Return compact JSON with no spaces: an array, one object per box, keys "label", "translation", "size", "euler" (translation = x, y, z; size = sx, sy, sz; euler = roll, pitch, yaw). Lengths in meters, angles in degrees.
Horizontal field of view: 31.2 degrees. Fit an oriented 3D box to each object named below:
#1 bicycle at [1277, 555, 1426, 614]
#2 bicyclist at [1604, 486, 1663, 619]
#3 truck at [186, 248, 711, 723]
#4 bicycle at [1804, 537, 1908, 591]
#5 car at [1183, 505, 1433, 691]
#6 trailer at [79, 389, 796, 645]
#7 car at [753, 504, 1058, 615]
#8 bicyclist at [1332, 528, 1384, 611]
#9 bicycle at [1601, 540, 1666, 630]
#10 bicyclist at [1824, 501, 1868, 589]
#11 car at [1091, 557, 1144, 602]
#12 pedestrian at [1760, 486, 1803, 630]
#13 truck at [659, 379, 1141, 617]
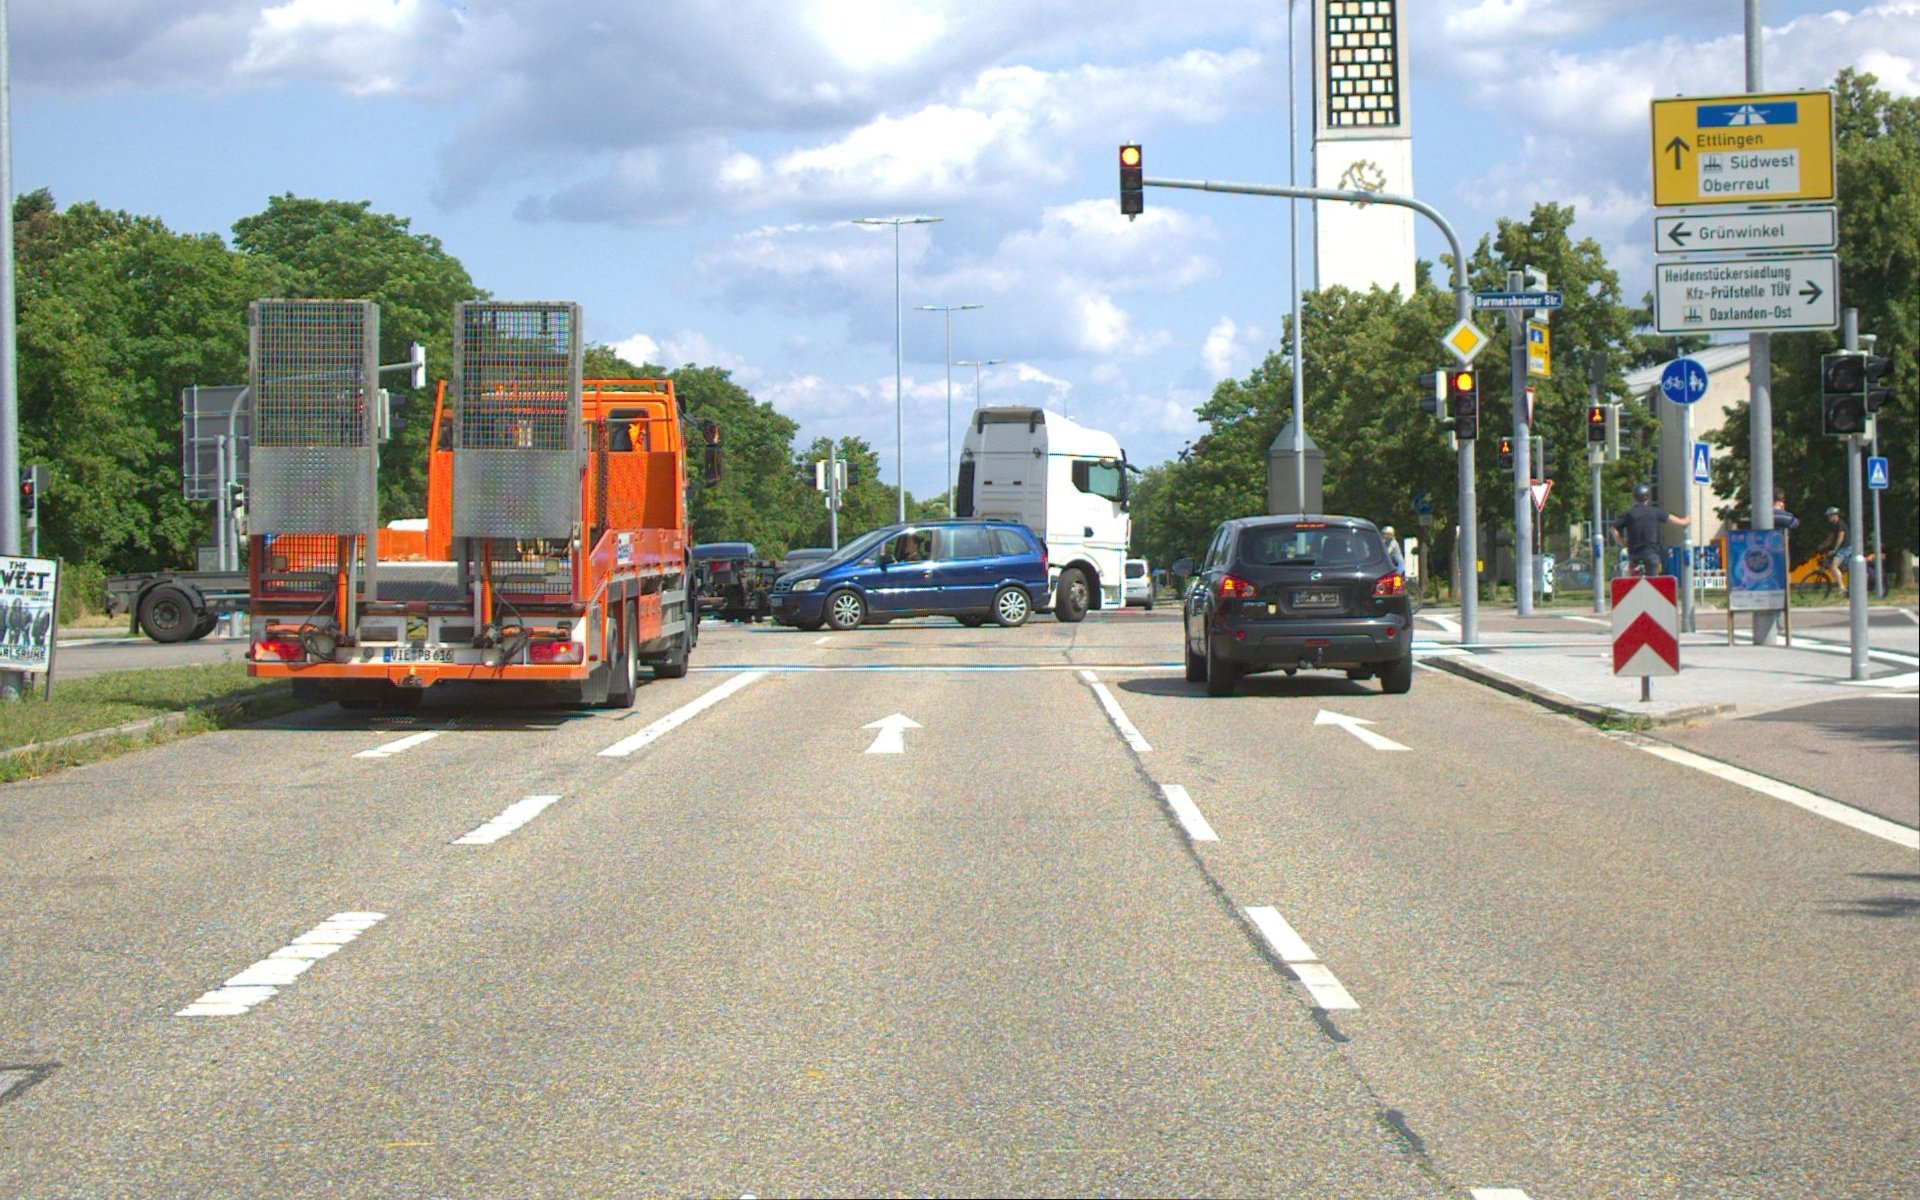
[{"label":"bicycle","translation":[7.616,-0.304,66.809],"size":[2.832,1.108,0.797],"euler":[-1,1,-22]},{"label":"bicyclist","translation":[8.476,-0.596,43.237],"size":[0.648,1.656,0.650],"euler":[1,0,15]},{"label":"truck","translation":[-4.133,-0.855,30.600],"size":[3.070,3.402,11.068],"euler":[1,0,-1]},{"label":"bicycle","translation":[18.489,-0.743,70.929],"size":[1.999,1.090,0.685],"euler":[0,0,23]},{"label":"car","translation":[3.078,-0.025,31.118],"size":[1.799,1.547,4.000],"euler":[1,0,-1]},{"label":"trailer","translation":[-8.540,-1.394,56.633],"size":[11.279,3.998,3.633],"euler":[-1,1,-10]},{"label":"car","translation":[-0.820,-0.594,52.006],"size":[4.198,1.568,1.856],"euler":[1,0,-24]},{"label":"bicyclist","translation":[7.731,-0.594,66.844],"size":[0.698,1.610,0.797],"euler":[-1,1,-22]},{"label":"bicycle","translation":[8.519,-0.186,43.426],"size":[0.648,1.104,1.927],"euler":[1,0,15]},{"label":"bicyclist","translation":[18.303,-1.142,71.000],"size":[0.787,1.798,0.685],"euler":[0,0,23]},{"label":"car","translation":[5.629,-0.736,123.056],"size":[1.658,1.550,4.000],"euler":[1,0,-1]},{"label":"pedestrian","translation":[10.228,-0.522,42.805],"size":[0.465,1.773,0.482],"euler":[1,0,11]},{"label":"truck","translation":[-0.953,-1.775,61.029],"size":[8.613,3.957,2.968],"euler":[-1,1,-40]}]
